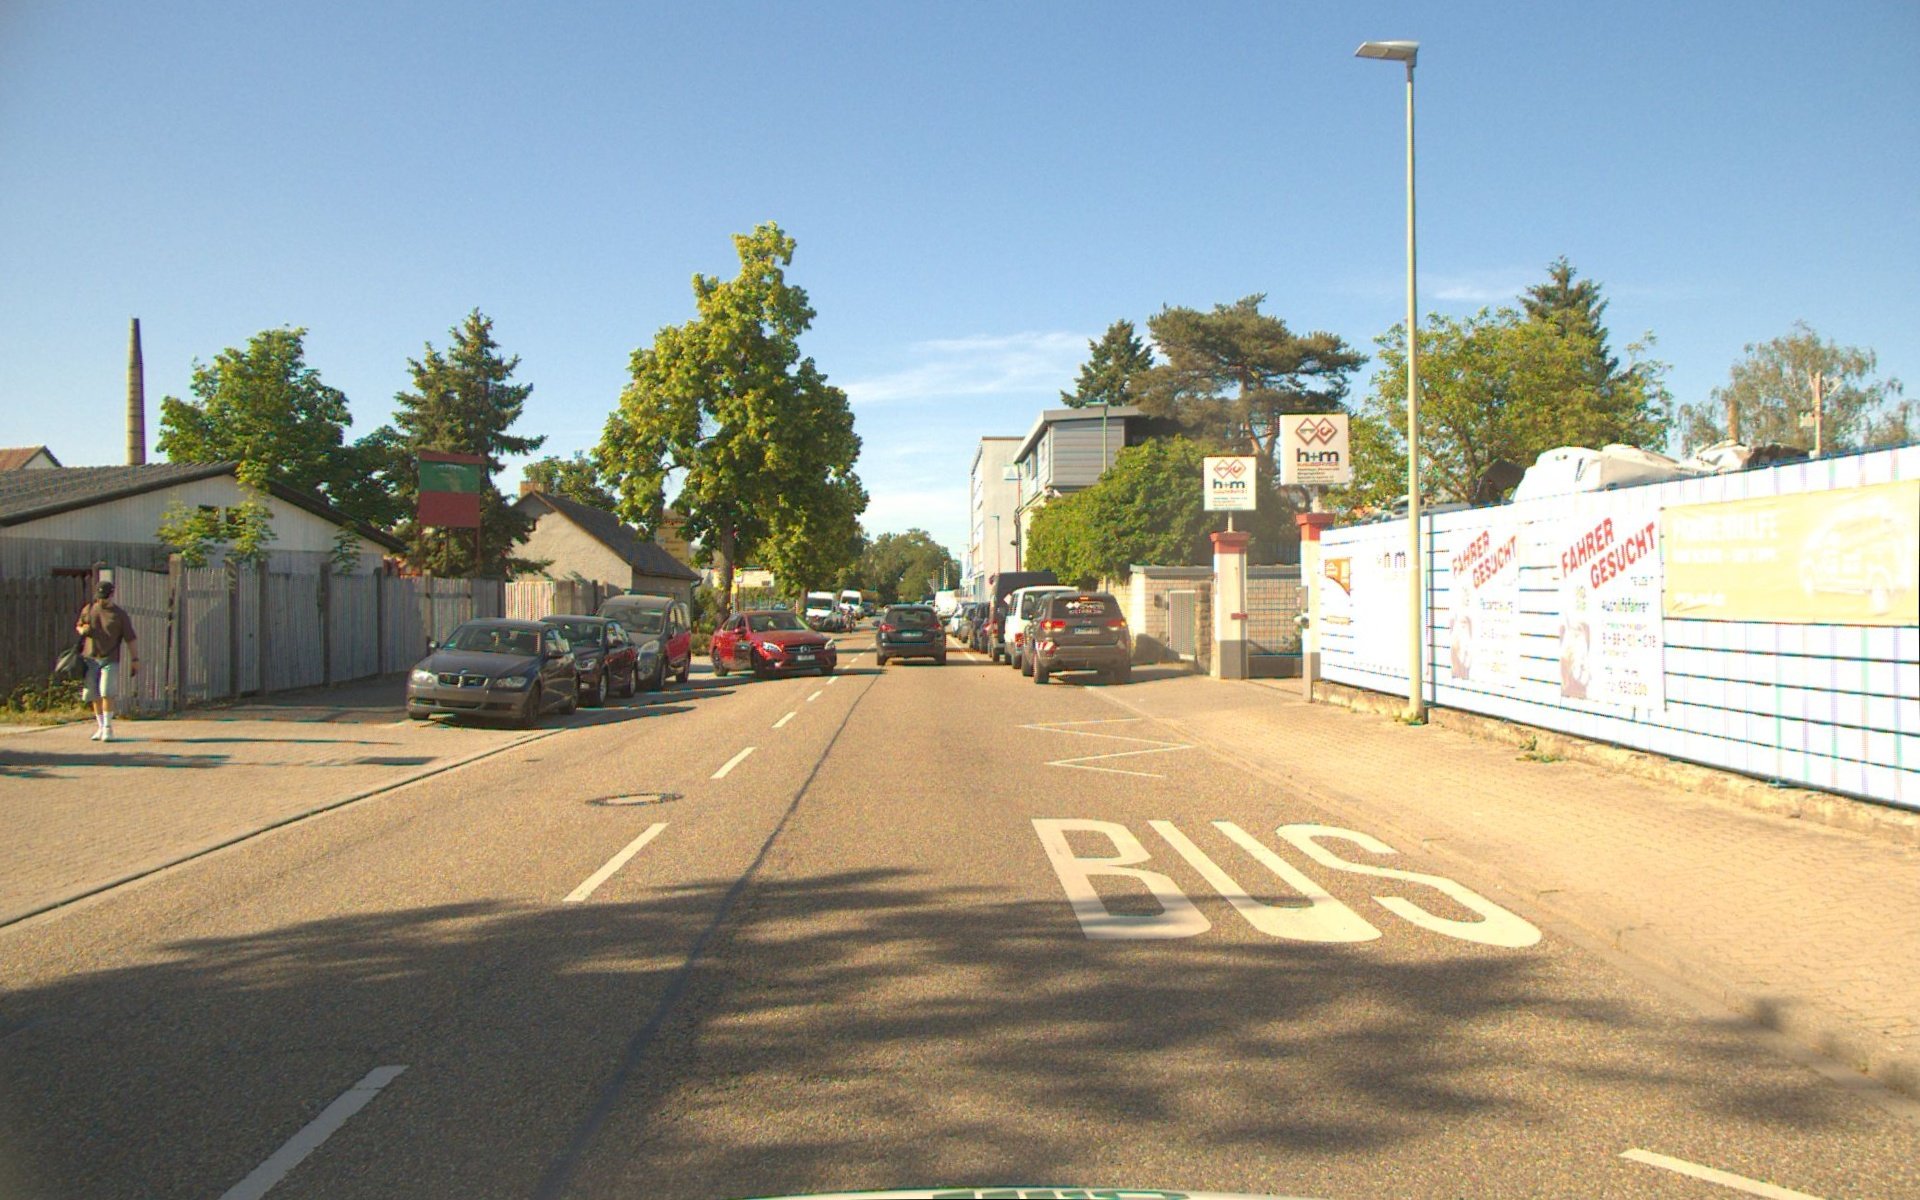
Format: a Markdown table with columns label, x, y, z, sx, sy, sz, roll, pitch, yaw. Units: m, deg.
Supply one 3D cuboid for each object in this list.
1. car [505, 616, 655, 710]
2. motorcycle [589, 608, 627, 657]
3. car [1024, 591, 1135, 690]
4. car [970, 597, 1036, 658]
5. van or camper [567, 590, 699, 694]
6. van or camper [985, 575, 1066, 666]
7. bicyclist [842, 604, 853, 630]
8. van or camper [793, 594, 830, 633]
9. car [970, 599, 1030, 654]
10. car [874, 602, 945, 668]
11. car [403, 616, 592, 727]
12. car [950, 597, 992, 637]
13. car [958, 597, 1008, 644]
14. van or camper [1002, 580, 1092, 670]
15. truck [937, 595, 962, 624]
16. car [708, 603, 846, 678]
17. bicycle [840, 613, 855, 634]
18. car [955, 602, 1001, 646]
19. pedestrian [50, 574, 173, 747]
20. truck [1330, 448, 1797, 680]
| label | x | y | z | sx | sy | sz | roll | pitch | yaw |
| --- | --- | --- | --- | --- | --- | --- | --- | --- | --- |
| car | -6.687 | 1.065 | 29.543 | 1.659 | 1.494 | 4.174 | -1 | 0 | 1 |
| motorcycle | -10.802 | 0.982 | 50.849 | 0.761 | 1.470 | 2.038 | -1 | 0 | -1 |
| car | 2.356 | 0.779 | 33.546 | 1.880 | 1.857 | 4.078 | 0 | 0 | -1 |
| car | 1.320 | 0.850 | 52.559 | 1.880 | 1.857 | 4.078 | 0 | 0 | -1 |
| van or camper | -6.646 | 0.829 | 34.069 | 1.852 | 1.959 | 4.265 | -1 | -1 | 0 |
| van or camper | 1.731 | 0.546 | 45.172 | 1.953 | 2.351 | 3.999 | 0 | 0 | -1 |
| bicyclist | -6.808 | 1.006 | 100.028 | 0.681 | 1.566 | 0.634 | -1 | 0 | -3 |
| van or camper | -9.524 | 0.866 | 106.396 | 2.278 | 2.403 | 6.521 | 0 | 0 | -5 |
| car | 1.361 | 0.900 | 57.718 | 1.880 | 1.857 | 4.078 | 0 | 0 | -1 |
| car | -1.240 | 0.850 | 41.782 | 1.677 | 1.559 | 3.687 | -1 | 0 | 0 |
| car | -6.708 | 0.978 | 24.474 | 1.722 | 1.428 | 4.554 | -1 | 0 | -3 |
| car | 0.511 | 0.786 | 79.025 | 1.880 | 1.857 | 4.078 | 0 | 0 | -1 |
| car | 0.908 | 0.822 | 67.297 | 1.880 | 1.857 | 4.078 | 0 | 0 | -1 |
| van or camper | 2.065 | 0.584 | 40.173 | 1.880 | 2.055 | 4.078 | 0 | 0 | -1 |
| truck | -0.932 | 0.811 | 139.235 | 1.953 | 2.328 | 6.953 | 0 | 0 | -1 |
| car | -4.139 | 0.854 | 36.940 | 1.852 | 1.511 | 4.012 | -2 | 1 | -25 |
| bicycle | -6.792 | 1.405 | 99.631 | 0.812 | 1.174 | 2.939 | -1 | 0 | -3 |
| car | 0.756 | 1.019 | 72.607 | 1.880 | 1.857 | 4.078 | 0 | 0 | -1 |
| pedestrian | -9.454 | 0.651 | 18.474 | 0.979 | 1.870 | 0.918 | -1 | 0 | -11 |
| truck | 10.508 | -0.624 | 29.218 | 7.231 | 3.837 | 2.830 | 0 | 0 | -6 |
